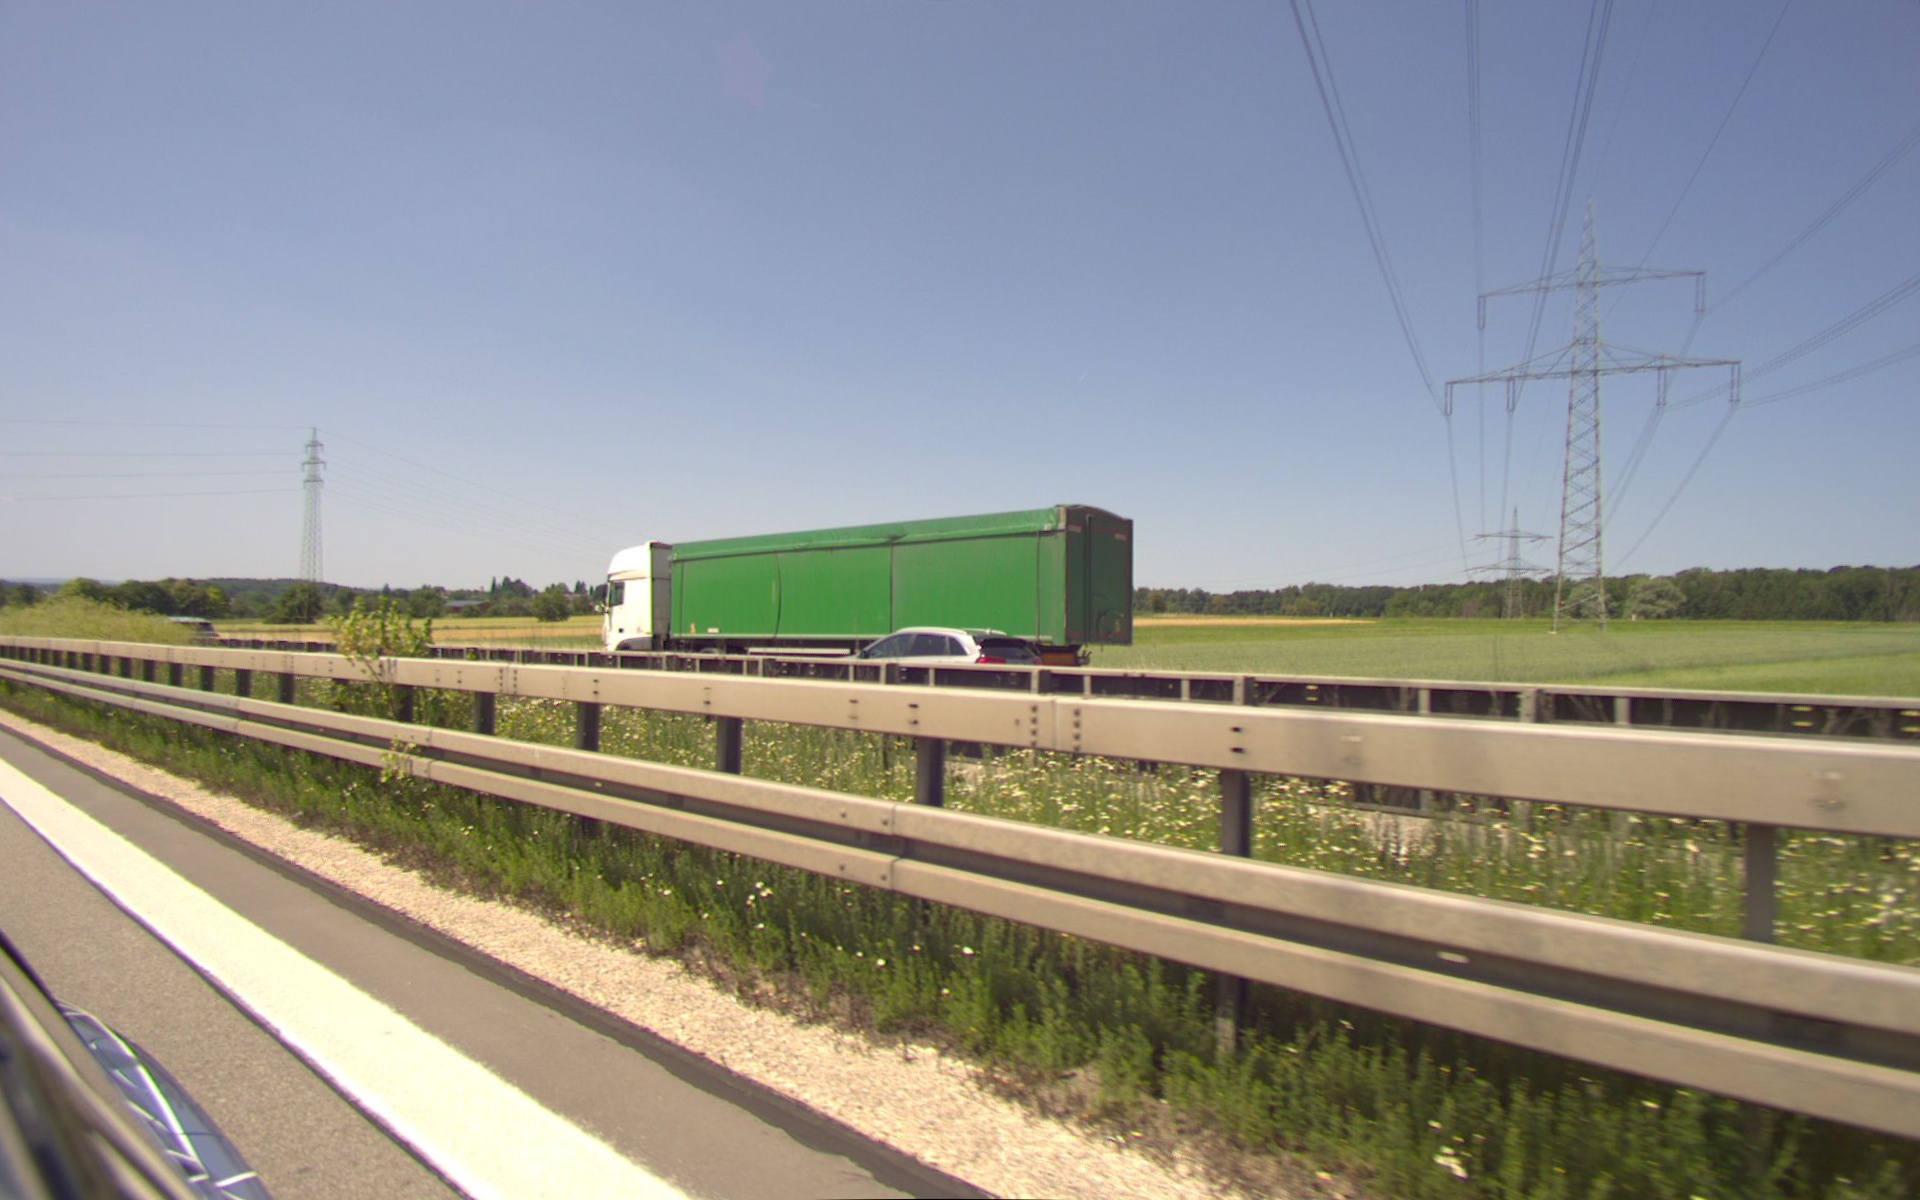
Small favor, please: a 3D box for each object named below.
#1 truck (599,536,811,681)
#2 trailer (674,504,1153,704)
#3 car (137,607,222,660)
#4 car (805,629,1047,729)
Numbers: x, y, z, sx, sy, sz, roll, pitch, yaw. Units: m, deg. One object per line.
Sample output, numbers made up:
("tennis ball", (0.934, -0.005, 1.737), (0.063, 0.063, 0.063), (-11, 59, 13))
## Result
("truck", (-7.119, 0.222, 27.904), (5.895, 3.586, 2.696), (-1, 0, 40))
("trailer", (-1.781, 0.103, 23.417), (12.526, 3.621, 2.726), (-1, 0, 40))
("car", (-26.507, 1.102, 34.352), (3.352, 1.670, 1.581), (-1, 0, 40))
("car", (-0.649, 1.238, 16.859), (3.998, 1.476, 1.617), (-1, -4, 41))
